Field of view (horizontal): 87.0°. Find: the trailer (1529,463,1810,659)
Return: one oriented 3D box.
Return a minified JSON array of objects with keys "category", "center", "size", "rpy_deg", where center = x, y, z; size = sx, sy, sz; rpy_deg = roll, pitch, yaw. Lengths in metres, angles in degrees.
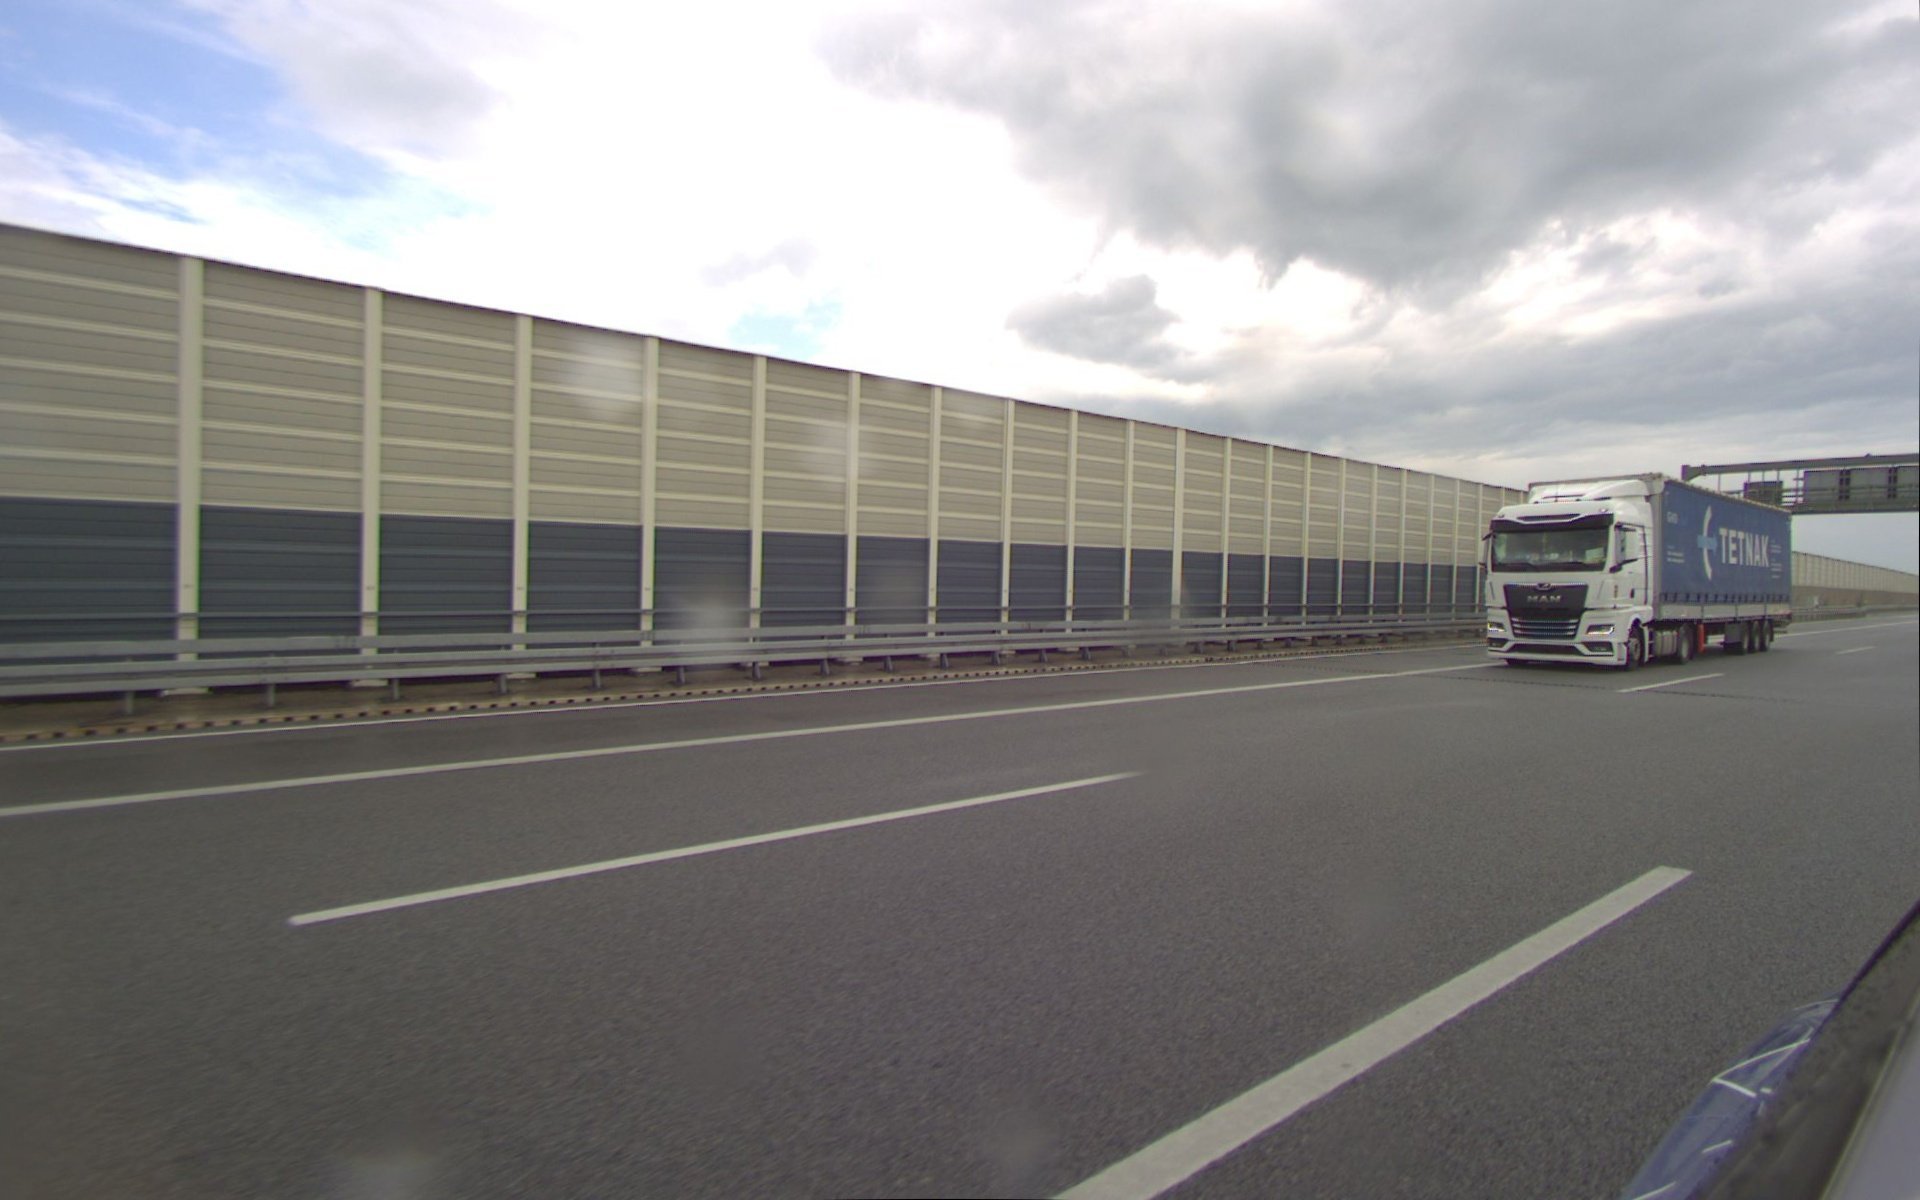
[{"category":"trailer","center":[19.277,-0.857,26.792],"size":[14.200,4.082,2.766],"rpy_deg":[0,0,-41]}]

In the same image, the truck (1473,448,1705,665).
[{"category":"truck","center":[13.716,-0.842,21.929],"size":[5.626,4.085,2.749],"rpy_deg":[0,0,-41]}]
